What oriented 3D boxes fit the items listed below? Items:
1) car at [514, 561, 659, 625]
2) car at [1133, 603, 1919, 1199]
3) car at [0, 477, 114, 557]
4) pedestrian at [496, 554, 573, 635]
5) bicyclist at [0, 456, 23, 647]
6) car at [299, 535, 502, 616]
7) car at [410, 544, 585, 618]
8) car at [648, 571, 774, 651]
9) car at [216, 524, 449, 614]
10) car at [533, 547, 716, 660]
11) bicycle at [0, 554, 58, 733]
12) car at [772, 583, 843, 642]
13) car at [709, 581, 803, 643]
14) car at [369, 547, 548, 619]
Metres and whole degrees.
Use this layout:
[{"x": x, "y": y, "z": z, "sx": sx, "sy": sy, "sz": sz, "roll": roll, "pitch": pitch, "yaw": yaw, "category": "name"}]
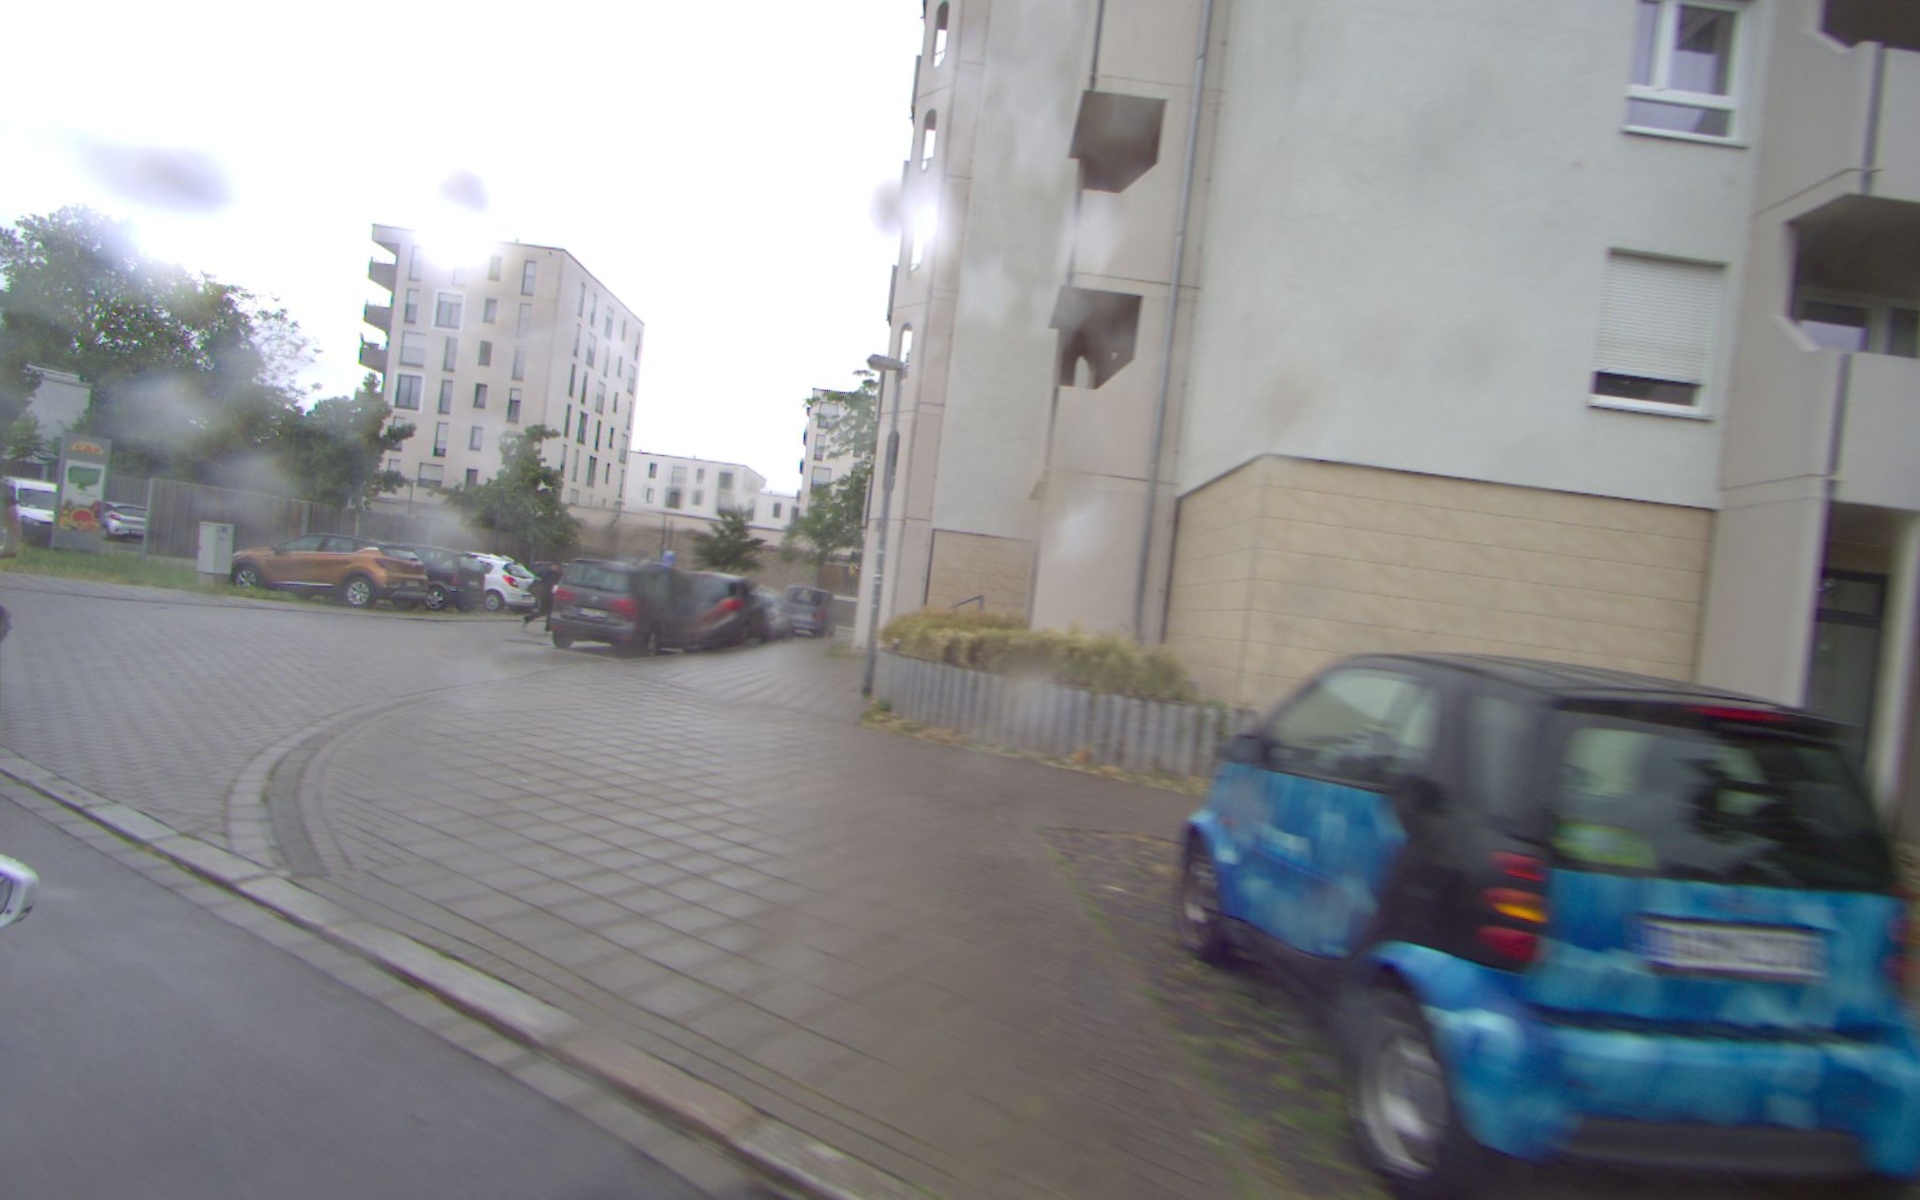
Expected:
[{"x": -13.339, "y": -0.219, "z": 36.128, "sx": 4.285, "sy": 1.628, "sz": 1.969, "roll": 8, "pitch": -1, "yaw": -2, "category": "car"}, {"x": 1.900, "y": 0.891, "z": 3.850, "sx": 1.575, "sy": 1.567, "sz": 2.561, "roll": 6, "pitch": 0, "yaw": -8, "category": "car"}, {"x": -26.301, "y": -2.432, "z": 28.705, "sx": 4.819, "sy": 1.805, "sz": 1.965, "roll": 7, "pitch": -1, "yaw": 35, "category": "car"}, {"x": -8.841, "y": -0.099, "z": 20.938, "sx": 1.074, "sy": 1.535, "sz": 0.838, "roll": 6, "pitch": -1, "yaw": 2, "category": "pedestrian"}, {"x": -6.880, "y": -0.221, "z": 6.717, "sx": 0.759, "sy": 1.578, "sz": 0.535, "roll": 6, "pitch": -1, "yaw": 25, "category": "bicyclist"}, {"x": -14.141, "y": -0.588, "z": 25.567, "sx": 3.924, "sy": 1.458, "sz": 2.002, "roll": 7, "pitch": -2, "yaw": 4, "category": "car"}, {"x": -14.146, "y": -0.553, "z": 30.966, "sx": 4.285, "sy": 1.605, "sz": 1.969, "roll": 8, "pitch": -1, "yaw": -2, "category": "car"}, {"x": -5.931, "y": 0.325, "z": 24.507, "sx": 1.781, "sy": 1.551, "sz": 4.116, "roll": 8, "pitch": -2, "yaw": 1, "category": "car"}, {"x": -14.119, "y": -0.667, "z": 22.795, "sx": 3.924, "sy": 1.458, "sz": 2.002, "roll": 7, "pitch": -2, "yaw": 4, "category": "car"}, {"x": -6.097, "y": 0.136, "z": 18.844, "sx": 1.781, "sy": 1.635, "sz": 4.116, "roll": 8, "pitch": -2, "yaw": 1, "category": "car"}, {"x": -6.889, "y": 0.197, "z": 6.709, "sx": 1.914, "sy": 1.106, "sz": 0.538, "roll": 6, "pitch": -1, "yaw": 26, "category": "bicycle"}, {"x": -5.929, "y": 0.540, "z": 39.687, "sx": 1.959, "sy": 1.940, "sz": 4.280, "roll": 8, "pitch": -2, "yaw": -1, "category": "car"}, {"x": -6.010, "y": 0.402, "z": 30.122, "sx": 1.781, "sy": 1.491, "sz": 3.800, "roll": 8, "pitch": -2, "yaw": 1, "category": "car"}, {"x": -14.112, "y": -0.451, "z": 28.469, "sx": 3.924, "sy": 1.458, "sz": 2.002, "roll": 7, "pitch": -2, "yaw": 4, "category": "car"}]
